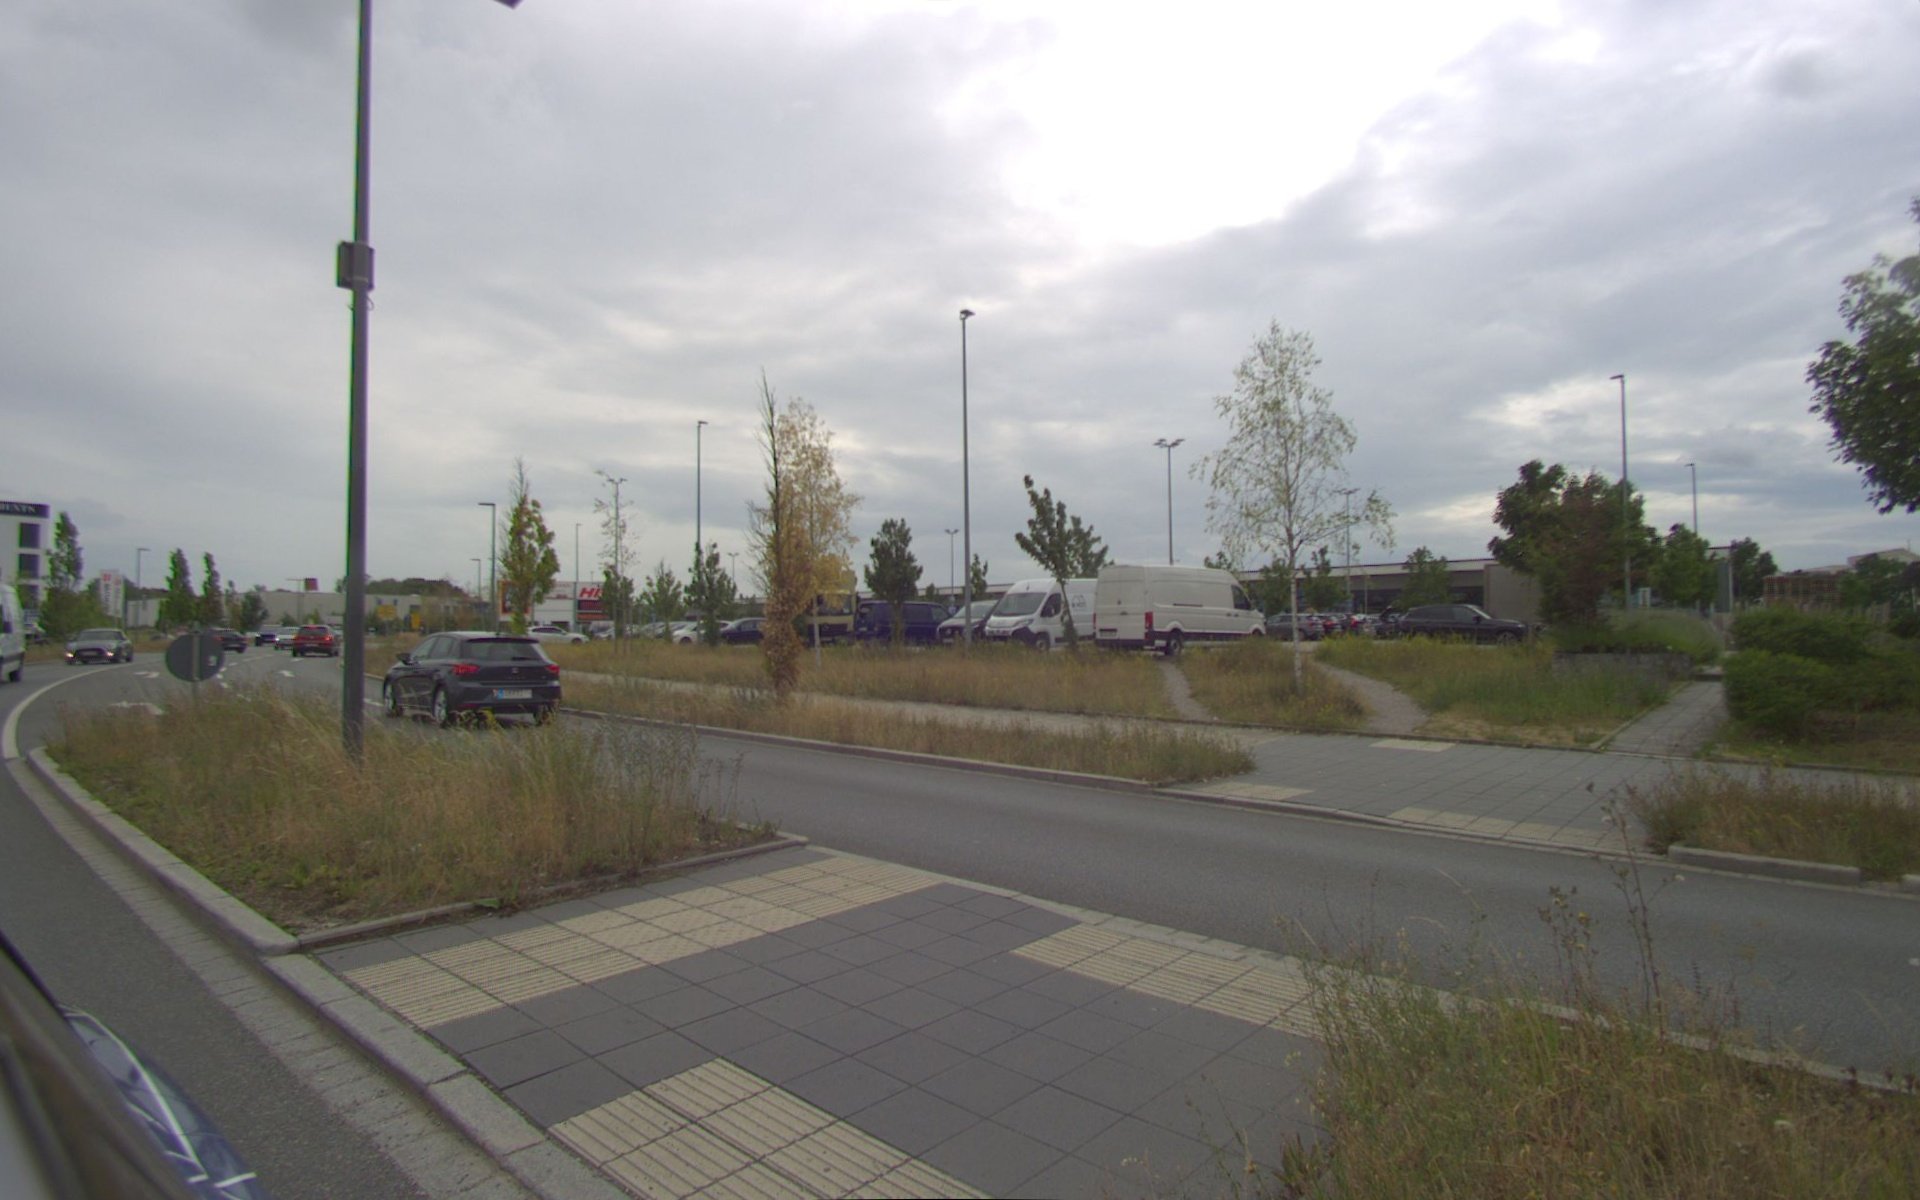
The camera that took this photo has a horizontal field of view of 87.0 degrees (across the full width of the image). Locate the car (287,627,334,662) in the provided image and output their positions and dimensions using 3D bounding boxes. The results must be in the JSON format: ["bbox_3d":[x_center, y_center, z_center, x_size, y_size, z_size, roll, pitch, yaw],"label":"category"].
[{"bbox_3d":[-34.067,2.332,53.042,1.775,1.682,4.337,4,-4,-35],"label":"car"}]

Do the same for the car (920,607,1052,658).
[{"bbox_3d":[0.977,1.135,35.421,1.994,1.629,4.850,-2,-3,42],"label":"car"}]

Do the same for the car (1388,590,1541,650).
[{"bbox_3d":[18.290,0.757,36.830,4.637,2.048,1.972,-2,-3,42],"label":"car"}]

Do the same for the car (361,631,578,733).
[{"bbox_3d":[-7.909,1.242,16.165,4.001,1.418,1.820,-2,-5,44],"label":"car"}]

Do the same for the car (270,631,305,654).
[{"bbox_3d":[-44.527,2.823,66.983,1.680,1.449,4.041,2,-3,-37],"label":"car"}]

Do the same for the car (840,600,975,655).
[{"bbox_3d":[-1.978,1.071,38.890,4.838,2.005,2.183,1,-2,-38],"label":"car"}]

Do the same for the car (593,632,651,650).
[{"bbox_3d":[-27.548,3.338,82.513,4.258,1.468,2.017,1,-3,-28],"label":"car"}]

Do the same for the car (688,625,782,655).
[{"bbox_3d":[-11.307,1.990,50.920,4.174,1.446,2.003,1,-3,-33],"label":"car"}]

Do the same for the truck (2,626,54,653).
[{"bbox_3d":[-84.461,3.601,91.827,2.196,2.343,8.235,1,-3,-34],"label":"truck"}]

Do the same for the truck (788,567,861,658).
[{"bbox_3d":[-5.974,0.615,43.936,2.813,3.568,8.444,0,-2,-9],"label":"truck"}]

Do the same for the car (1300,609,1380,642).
[{"bbox_3d":[22.789,1.562,60.804,1.968,1.912,4.007,1,-2,-39],"label":"car"}]

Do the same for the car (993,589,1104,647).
[{"bbox_3d":[4.293,0.928,49.730,5.139,2.711,2.038,-2,-3,38],"label":"car"}]

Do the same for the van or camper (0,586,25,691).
[{"bbox_3d":[-25.710,1.002,25.679,2.228,2.637,5.709,2,-3,-36],"label":"van or camper"}]

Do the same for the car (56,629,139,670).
[{"bbox_3d":[-35.632,2.011,41.924,1.727,1.597,4.013,0,-2,-27],"label":"car"}]

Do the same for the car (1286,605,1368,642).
[{"bbox_3d":[21.272,1.381,58.719,1.968,2.029,4.007,1,-2,-39],"label":"car"}]

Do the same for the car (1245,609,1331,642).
[{"bbox_3d":[17.673,1.387,54.565,3.996,1.684,1.974,-2,-2,39],"label":"car"}]

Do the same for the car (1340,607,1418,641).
[{"bbox_3d":[25.604,1.511,61.931,1.966,2.029,4.011,1,-2,-33],"label":"car"}]

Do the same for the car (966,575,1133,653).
[{"bbox_3d":[3.049,0.486,33.128,2.211,2.324,6.001,-2,-2,43],"label":"car"}]

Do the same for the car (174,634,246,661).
[{"bbox_3d":[-42.280,2.665,57.061,4.230,1.431,1.816,-2,-2,31],"label":"car"}]

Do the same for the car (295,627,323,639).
[{"bbox_3d":[-113.265,5.743,176.091,1.633,2.029,3.967,-2,-2,24],"label":"car"}]

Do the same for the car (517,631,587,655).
[{"bbox_3d":[-26.786,2.801,66.444,4.120,1.480,1.892,1,-2,-25],"label":"car"}]

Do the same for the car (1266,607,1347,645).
[{"bbox_3d":[19.385,1.457,56.792,1.723,2.029,4.009,1,-2,-36],"label":"car"}]

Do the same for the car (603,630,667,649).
[{"bbox_3d":[-24.701,2.988,76.901,4.252,1.350,2.033,1,-3,-30],"label":"car"}]

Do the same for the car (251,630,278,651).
[{"bbox_3d":[-57.246,3.324,83.349,1.728,1.597,4.011,0,-2,-33],"label":"car"}]

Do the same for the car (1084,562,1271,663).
[{"bbox_3d":[6.446,0.399,29.415,2.244,2.618,6.335,-2,-2,44],"label":"car"}]

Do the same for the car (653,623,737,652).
[{"bbox_3d":[-15.040,2.136,57.556,4.190,1.571,1.994,1,-3,-36],"label":"car"}]

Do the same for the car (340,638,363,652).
[{"bbox_3d":[-75.295,5.615,125.300,1.965,1.649,4.717,3,-3,-27],"label":"car"}]

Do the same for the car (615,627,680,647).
[{"bbox_3d":[-22.686,2.705,73.441,4.296,1.402,2.172,1,-3,-25],"label":"car"}]
